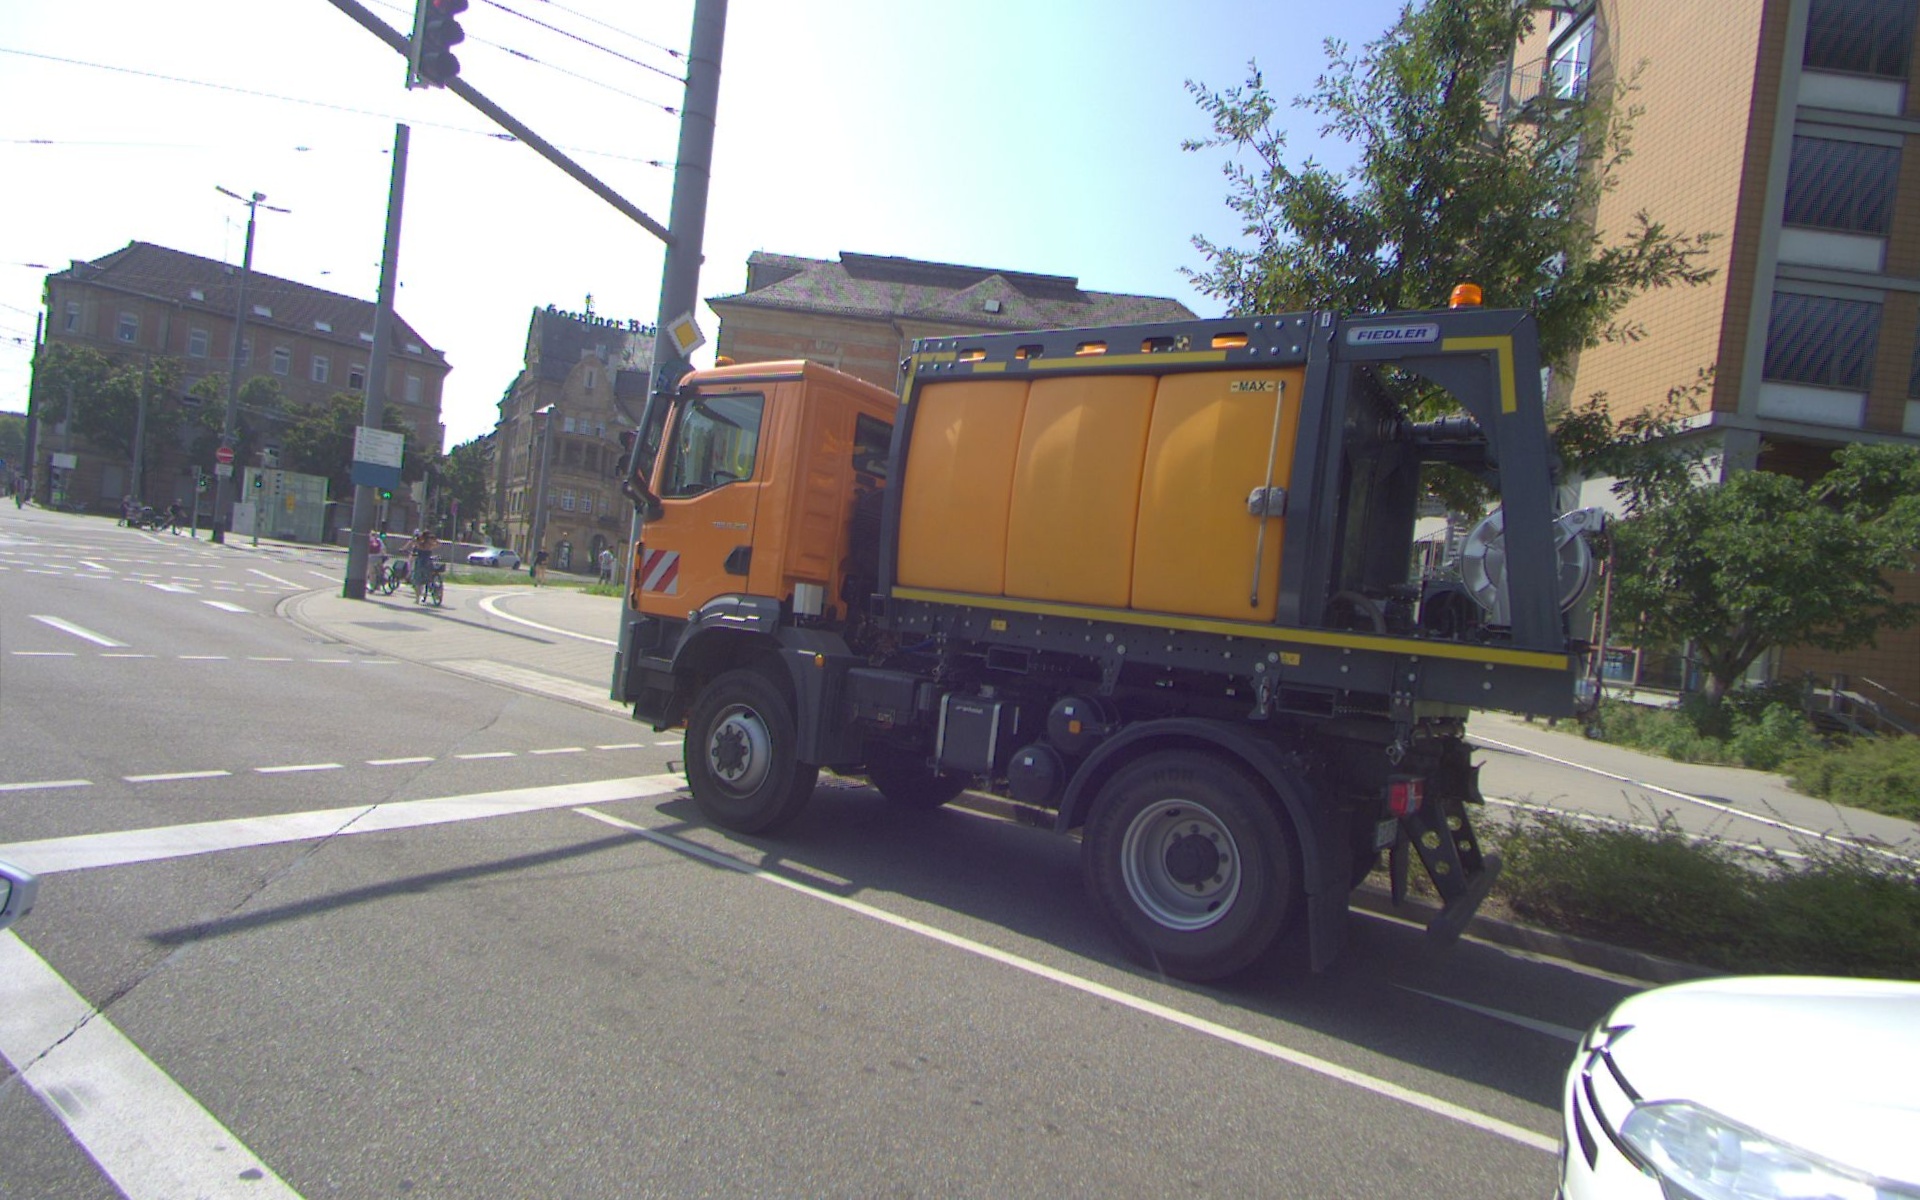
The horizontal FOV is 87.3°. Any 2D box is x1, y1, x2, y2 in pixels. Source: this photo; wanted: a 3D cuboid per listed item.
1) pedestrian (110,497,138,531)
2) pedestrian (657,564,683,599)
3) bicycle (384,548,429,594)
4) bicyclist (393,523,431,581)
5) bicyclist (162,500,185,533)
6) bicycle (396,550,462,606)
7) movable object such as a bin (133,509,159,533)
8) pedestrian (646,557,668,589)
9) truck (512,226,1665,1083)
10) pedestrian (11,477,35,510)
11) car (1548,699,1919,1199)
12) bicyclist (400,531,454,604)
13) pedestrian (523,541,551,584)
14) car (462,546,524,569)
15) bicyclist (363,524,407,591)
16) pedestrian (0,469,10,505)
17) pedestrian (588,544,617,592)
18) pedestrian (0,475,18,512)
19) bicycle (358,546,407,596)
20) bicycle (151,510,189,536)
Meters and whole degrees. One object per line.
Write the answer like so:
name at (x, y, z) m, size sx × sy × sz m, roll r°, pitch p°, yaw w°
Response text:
pedestrian at (-42.283, -4.358, 50.876) m, size 0.519 × 1.564 × 0.852 m, roll 7°, pitch 1°, yaw 24°
pedestrian at (-12.560, -0.789, 43.601) m, size 0.679 × 1.417 × 0.767 m, roll 7°, pitch 1°, yaw 7°
bicycle at (-14.797, -0.785, 26.865) m, size 1.632 × 1.068 × 0.535 m, roll 7°, pitch 1°, yaw 45°
bicyclist at (-14.503, -1.274, 26.602) m, size 0.882 × 1.410 × 0.529 m, roll 7°, pitch 1°, yaw 44°
bicyclist at (-39.576, -4.206, 50.649) m, size 0.511 × 1.548 × 0.613 m, roll 7°, pitch 1°, yaw 8°
bicycle at (-11.932, -0.497, 22.575) m, size 1.795 × 1.068 × 0.492 m, roll 7°, pitch 1°, yaw 37°
movable object such as a bin at (-41.608, -4.051, 51.408) m, size 0.502 × 1.091 × 0.815 m, roll 7°, pitch 1°, yaw 21°
pedestrian at (-12.585, -1.117, 41.813) m, size 0.659 × 1.229 × 0.523 m, roll 6°, pitch 1°, yaw -30°
truck at (0.294, -0.018, 6.629) m, size 6.751 × 3.173 × 2.493 m, roll 7°, pitch 0°, yaw 34°
pedestrian at (-51.175, -5.818, 54.948) m, size 0.562 × 1.623 × 0.701 m, roll 7°, pitch 1°, yaw 24°
car at (3.303, 1.178, 1.070) m, size 4.534 × 1.446 × 1.770 m, roll 7°, pitch 0°, yaw 33°
bicyclist at (-11.984, -0.726, 22.616) m, size 0.653 × 1.537 × 0.734 m, roll 7°, pitch 1°, yaw 36°
pedestrian at (-16.367, -1.444, 38.929) m, size 0.727 × 1.595 × 0.787 m, roll 6°, pitch 1°, yaw -14°
car at (-32.383, -2.955, 69.865) m, size 1.962 × 1.103 × 4.002 m, roll 7°, pitch 0°, yaw 7°
bicyclist at (-14.072, -1.048, 24.622) m, size 0.702 × 1.537 × 0.626 m, roll 7°, pitch 1°, yaw 44°
pedestrian at (-82.686, -9.750, 86.556) m, size 0.960 × 3.055 × 0.983 m, roll 7°, pitch 1°, yaw 38°
pedestrian at (-13.799, -1.212, 38.853) m, size 0.808 × 1.746 × 0.546 m, roll 6°, pitch 1°, yaw -9°
pedestrian at (-84.335, -9.423, 89.025) m, size 0.959 × 3.055 × 0.983 m, roll 7°, pitch 1°, yaw 34°
bicycle at (-14.087, -0.720, 24.530) m, size 1.632 × 1.068 × 0.535 m, roll 7°, pitch 1°, yaw 45°
bicycle at (-39.803, -3.868, 50.680) m, size 1.622 × 1.068 × 0.471 m, roll 7°, pitch 1°, yaw 12°
